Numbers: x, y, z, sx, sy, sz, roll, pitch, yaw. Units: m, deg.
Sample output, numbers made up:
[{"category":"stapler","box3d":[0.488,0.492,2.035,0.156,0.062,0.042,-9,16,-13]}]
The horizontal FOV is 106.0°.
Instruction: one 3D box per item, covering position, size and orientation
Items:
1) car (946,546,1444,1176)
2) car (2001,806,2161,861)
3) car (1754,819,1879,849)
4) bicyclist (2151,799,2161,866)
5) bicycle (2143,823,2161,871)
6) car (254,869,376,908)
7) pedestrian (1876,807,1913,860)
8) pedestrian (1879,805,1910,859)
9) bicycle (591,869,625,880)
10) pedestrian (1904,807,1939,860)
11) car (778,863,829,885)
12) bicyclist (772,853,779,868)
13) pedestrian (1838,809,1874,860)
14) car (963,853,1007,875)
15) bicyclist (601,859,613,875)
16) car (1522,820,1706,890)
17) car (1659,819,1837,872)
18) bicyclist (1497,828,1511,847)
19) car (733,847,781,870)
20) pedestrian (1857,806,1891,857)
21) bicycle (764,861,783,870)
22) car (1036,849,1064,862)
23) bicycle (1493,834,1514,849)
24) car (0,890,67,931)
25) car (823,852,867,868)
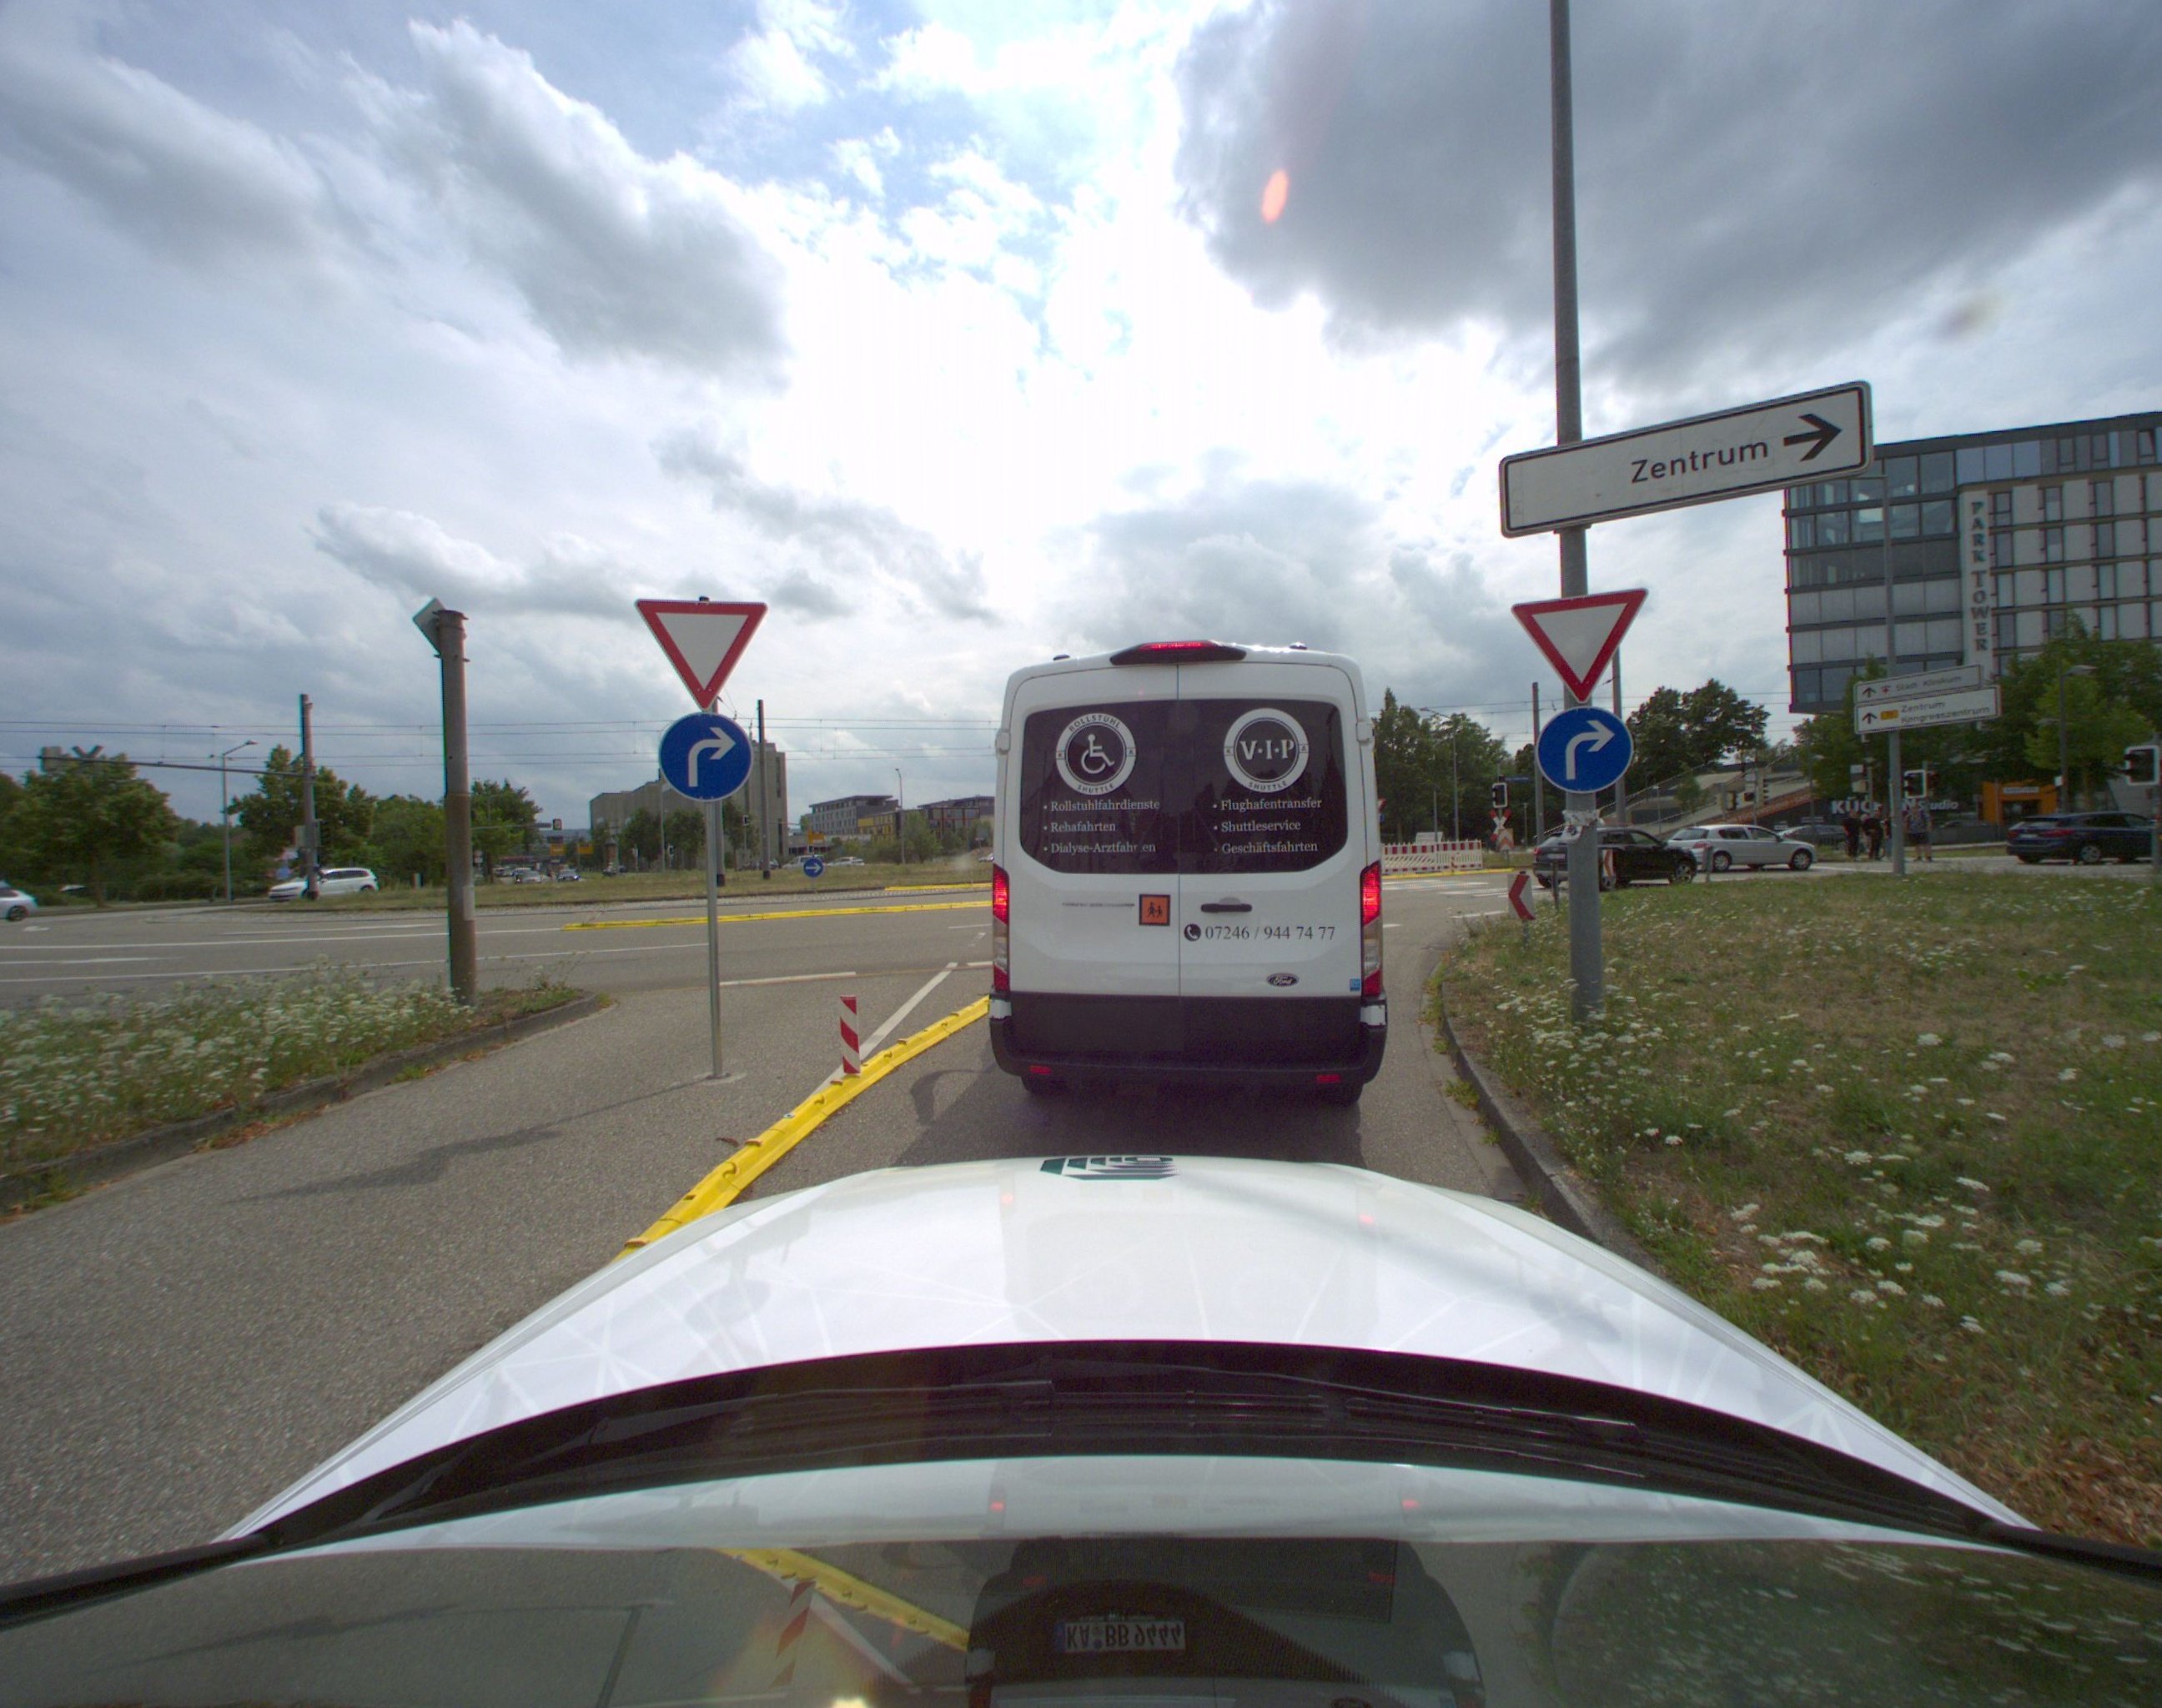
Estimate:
[{"category":"car","box3d":[0.900,0.033,6.419,2.114,2.697,5.646,-2,0,9]},{"category":"car","box3d":[31.204,-0.644,24.644,4.332,1.534,1.737,-2,1,9]},{"category":"car","box3d":[39.339,-1.062,43.669,4.689,1.458,1.855,-2,1,13]},{"category":"bicyclist","box3d":[26.759,-0.534,19.727,0.781,1.627,1.055,-2,0,41]},{"category":"bicycle","box3d":[26.876,-0.183,19.849,0.781,1.168,2.054,-2,0,40]},{"category":"car","box3d":[-40.353,1.773,43.073,1.921,1.665,4.366,-3,2,8]},{"category":"pedestrian","box3d":[27.946,-0.706,27.989,0.684,1.781,0.554,-2,1,6]},{"category":"pedestrian","box3d":[28.561,-0.755,28.600,0.527,1.862,0.554,-2,1,6]},{"category":"bicycle","box3d":[-44.349,1.895,76.389,0.853,0.855,2.676,-2,1,36]},{"category":"pedestrian","box3d":[28.700,-0.711,27.813,0.575,1.781,0.554,-2,1,6]},{"category":"car","box3d":[-26.672,1.903,78.244,4.309,2.014,2.011,-1,-1,22]},{"category":"bicyclist","box3d":[-32.362,0.735,86.259,0.650,1.558,0.527,-2,0,-19]},{"category":"pedestrian","box3d":[27.243,-0.683,28.631,0.684,1.781,0.554,-2,1,6]},{"category":"car","box3d":[-8.981,0.928,76.451,1.974,2.014,4.025,-2,-1,33]},{"category":"bicyclist","box3d":[-44.420,1.207,76.295,0.853,1.409,0.678,-2,0,36]},{"category":"car","box3d":[13.265,0.003,20.274,4.149,1.519,1.729,-2,1,-21]},{"category":"car","box3d":[20.722,-0.263,25.394,4.239,1.462,1.827,-2,1,-5]},{"category":"bicyclist","box3d":[30.402,-1.190,58.587,0.636,1.317,0.675,-2,1,1]},{"category":"car","box3d":[-29.315,0.402,73.652,3.948,2.014,2.013,-2,-1,33]},{"category":"pedestrian","box3d":[27.906,-0.783,28.660,0.628,1.781,0.554,-2,1,6]},{"category":"bicycle","box3d":[-32.497,1.237,86.208,1.834,0.877,0.527,-2,0,-19]},{"category":"car","box3d":[-3.446,0.137,92.566,1.812,1.463,4.019,-2,0,19]},{"category":"bicycle","box3d":[30.416,-0.903,58.585,0.649,1.007,1.758,-2,1,3]},{"category":"car","box3d":[-43.438,2.309,31.610,1.992,1.482,5.171,-2,0,-7]},{"category":"car","box3d":[-23.578,0.623,81.294,3.952,1.463,1.843,-1,-1,23]}]
